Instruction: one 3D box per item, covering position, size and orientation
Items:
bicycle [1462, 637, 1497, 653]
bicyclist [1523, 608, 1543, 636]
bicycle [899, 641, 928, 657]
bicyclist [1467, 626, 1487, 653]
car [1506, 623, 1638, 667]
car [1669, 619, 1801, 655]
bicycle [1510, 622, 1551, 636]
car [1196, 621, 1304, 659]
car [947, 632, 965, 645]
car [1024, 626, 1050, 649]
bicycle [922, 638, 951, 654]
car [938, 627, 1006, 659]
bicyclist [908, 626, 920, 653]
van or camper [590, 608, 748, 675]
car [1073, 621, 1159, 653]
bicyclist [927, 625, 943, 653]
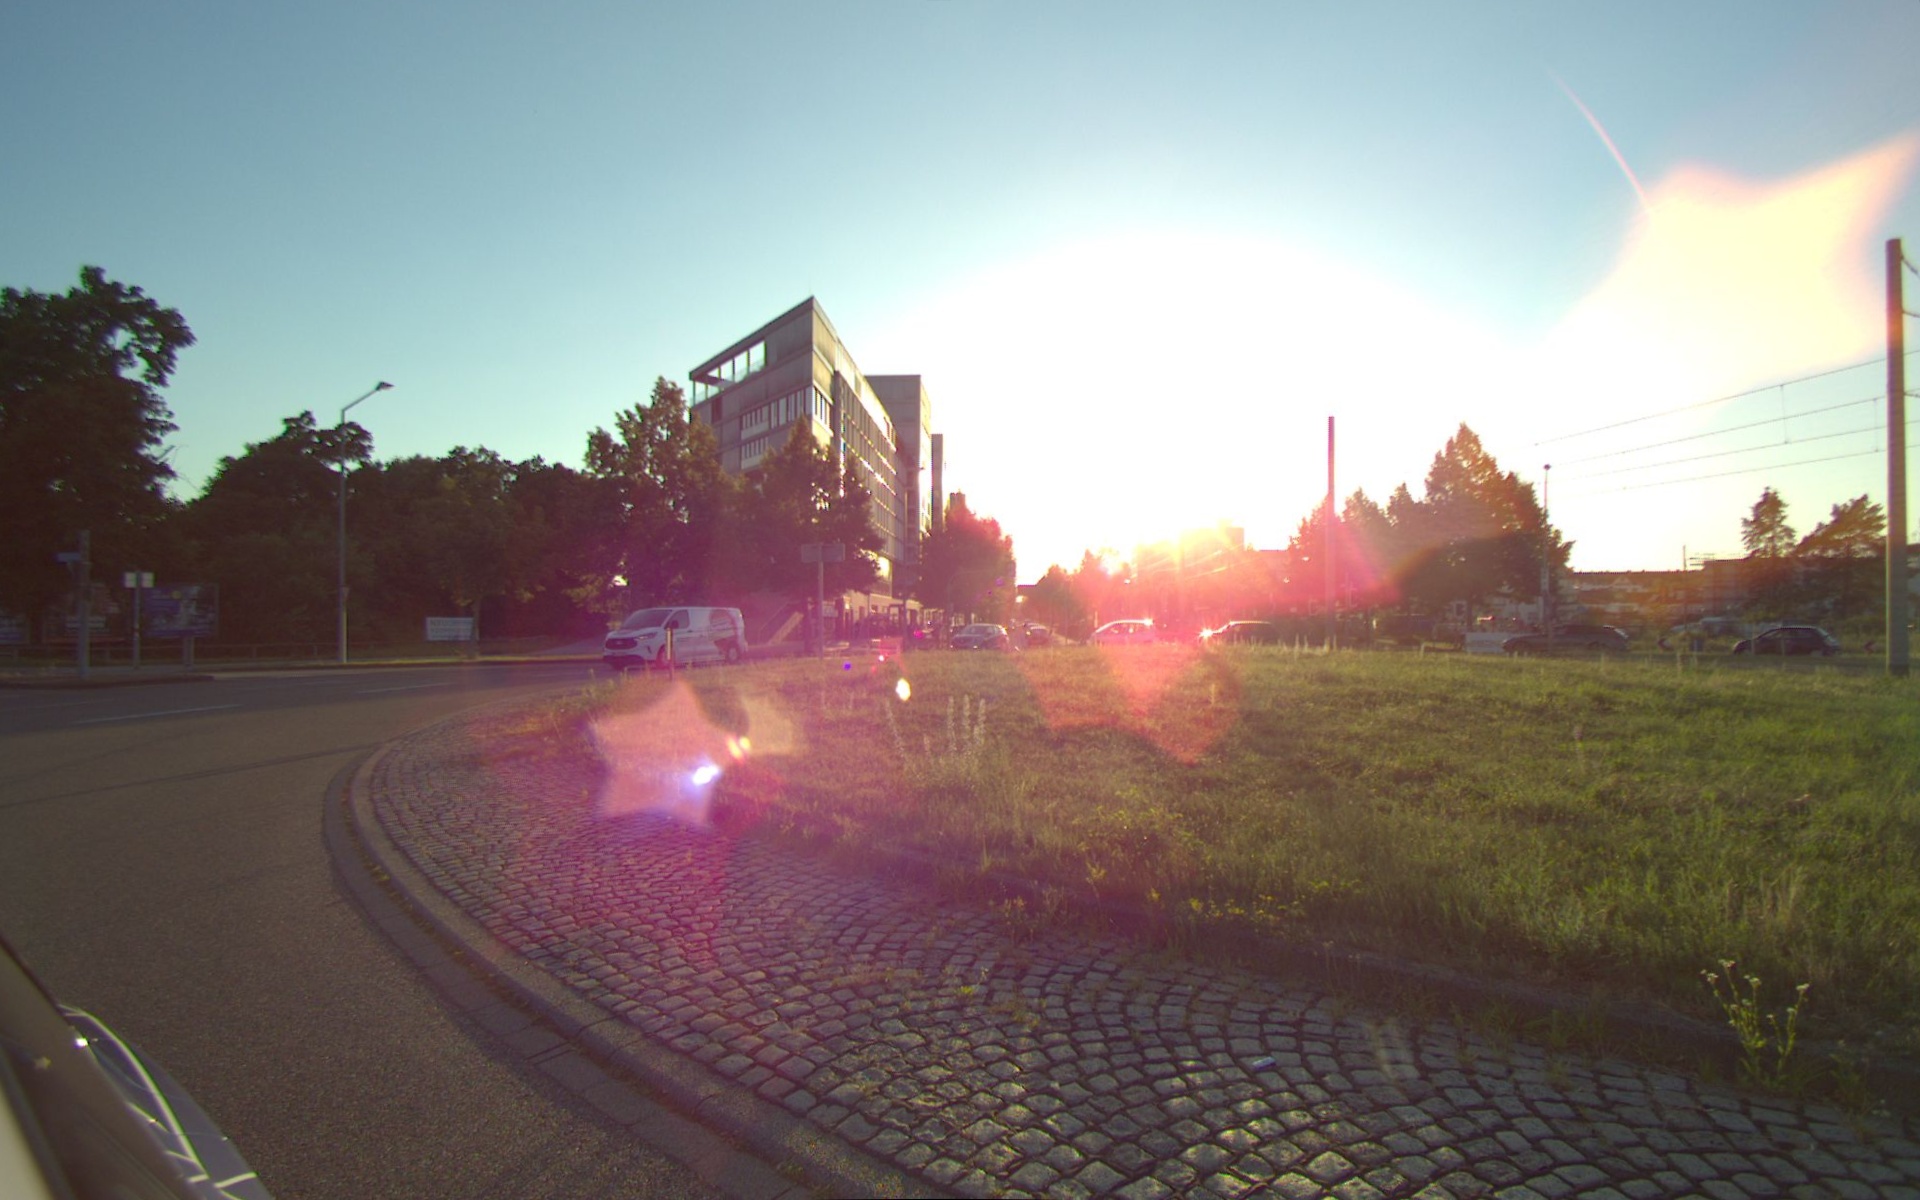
[{"bbox_3d":[32.113,2.765,62.617,1.821,0.988,0.548,-1,-2,7],"label":"bicycle"},{"bbox_3d":[34.335,1.332,60.658,0.684,1.646,0.800,1,-3,-37],"label":"bicyclist"},{"bbox_3d":[-2.894,3.052,63.068,1.834,1.030,0.308,0,-2,-6],"label":"bicycle"},{"bbox_3d":[31.984,2.466,62.593,0.805,1.653,0.813,-1,-2,7],"label":"bicyclist"},{"bbox_3d":[25.855,1.897,42.829,4.591,1.761,1.729,-2,-2,38],"label":"car"},{"bbox_3d":[33.046,1.592,43.260,1.722,1.457,4.145,1,-2,-35],"label":"car"},{"bbox_3d":[34.320,1.760,60.895,0.504,0.852,2.140,1,-3,-37],"label":"bicycle"},{"bbox_3d":[13.690,1.873,47.852,4.528,1.761,1.753,0,-2,-4],"label":"car"},{"bbox_3d":[-0.436,4.410,115.567,1.779,1.475,3.996,0,-2,3],"label":"car"},{"bbox_3d":[5.900,2.845,77.011,1.756,1.633,3.991,0,-1,7],"label":"car"},{"bbox_3d":[-1.516,2.948,64.945,1.843,1.030,0.436,-1,-2,11],"label":"bicycle"},{"bbox_3d":[0.664,2.158,51.455,1.739,1.548,3.958,-1,-1,31],"label":"car"},{"bbox_3d":[-2.868,2.456,63.295,0.674,1.660,0.685,0,-2,-6],"label":"bicyclist"},{"bbox_3d":[-9.173,1.274,32.418,1.987,1.972,5.287,-1,-1,23],"label":"van or camper"},{"bbox_3d":[7.291,1.727,47.418,3.653,1.476,1.609,0,-2,-6],"label":"car"},{"bbox_3d":[-1.592,2.478,64.313,0.840,1.769,0.801,-1,-2,10],"label":"bicyclist"}]
